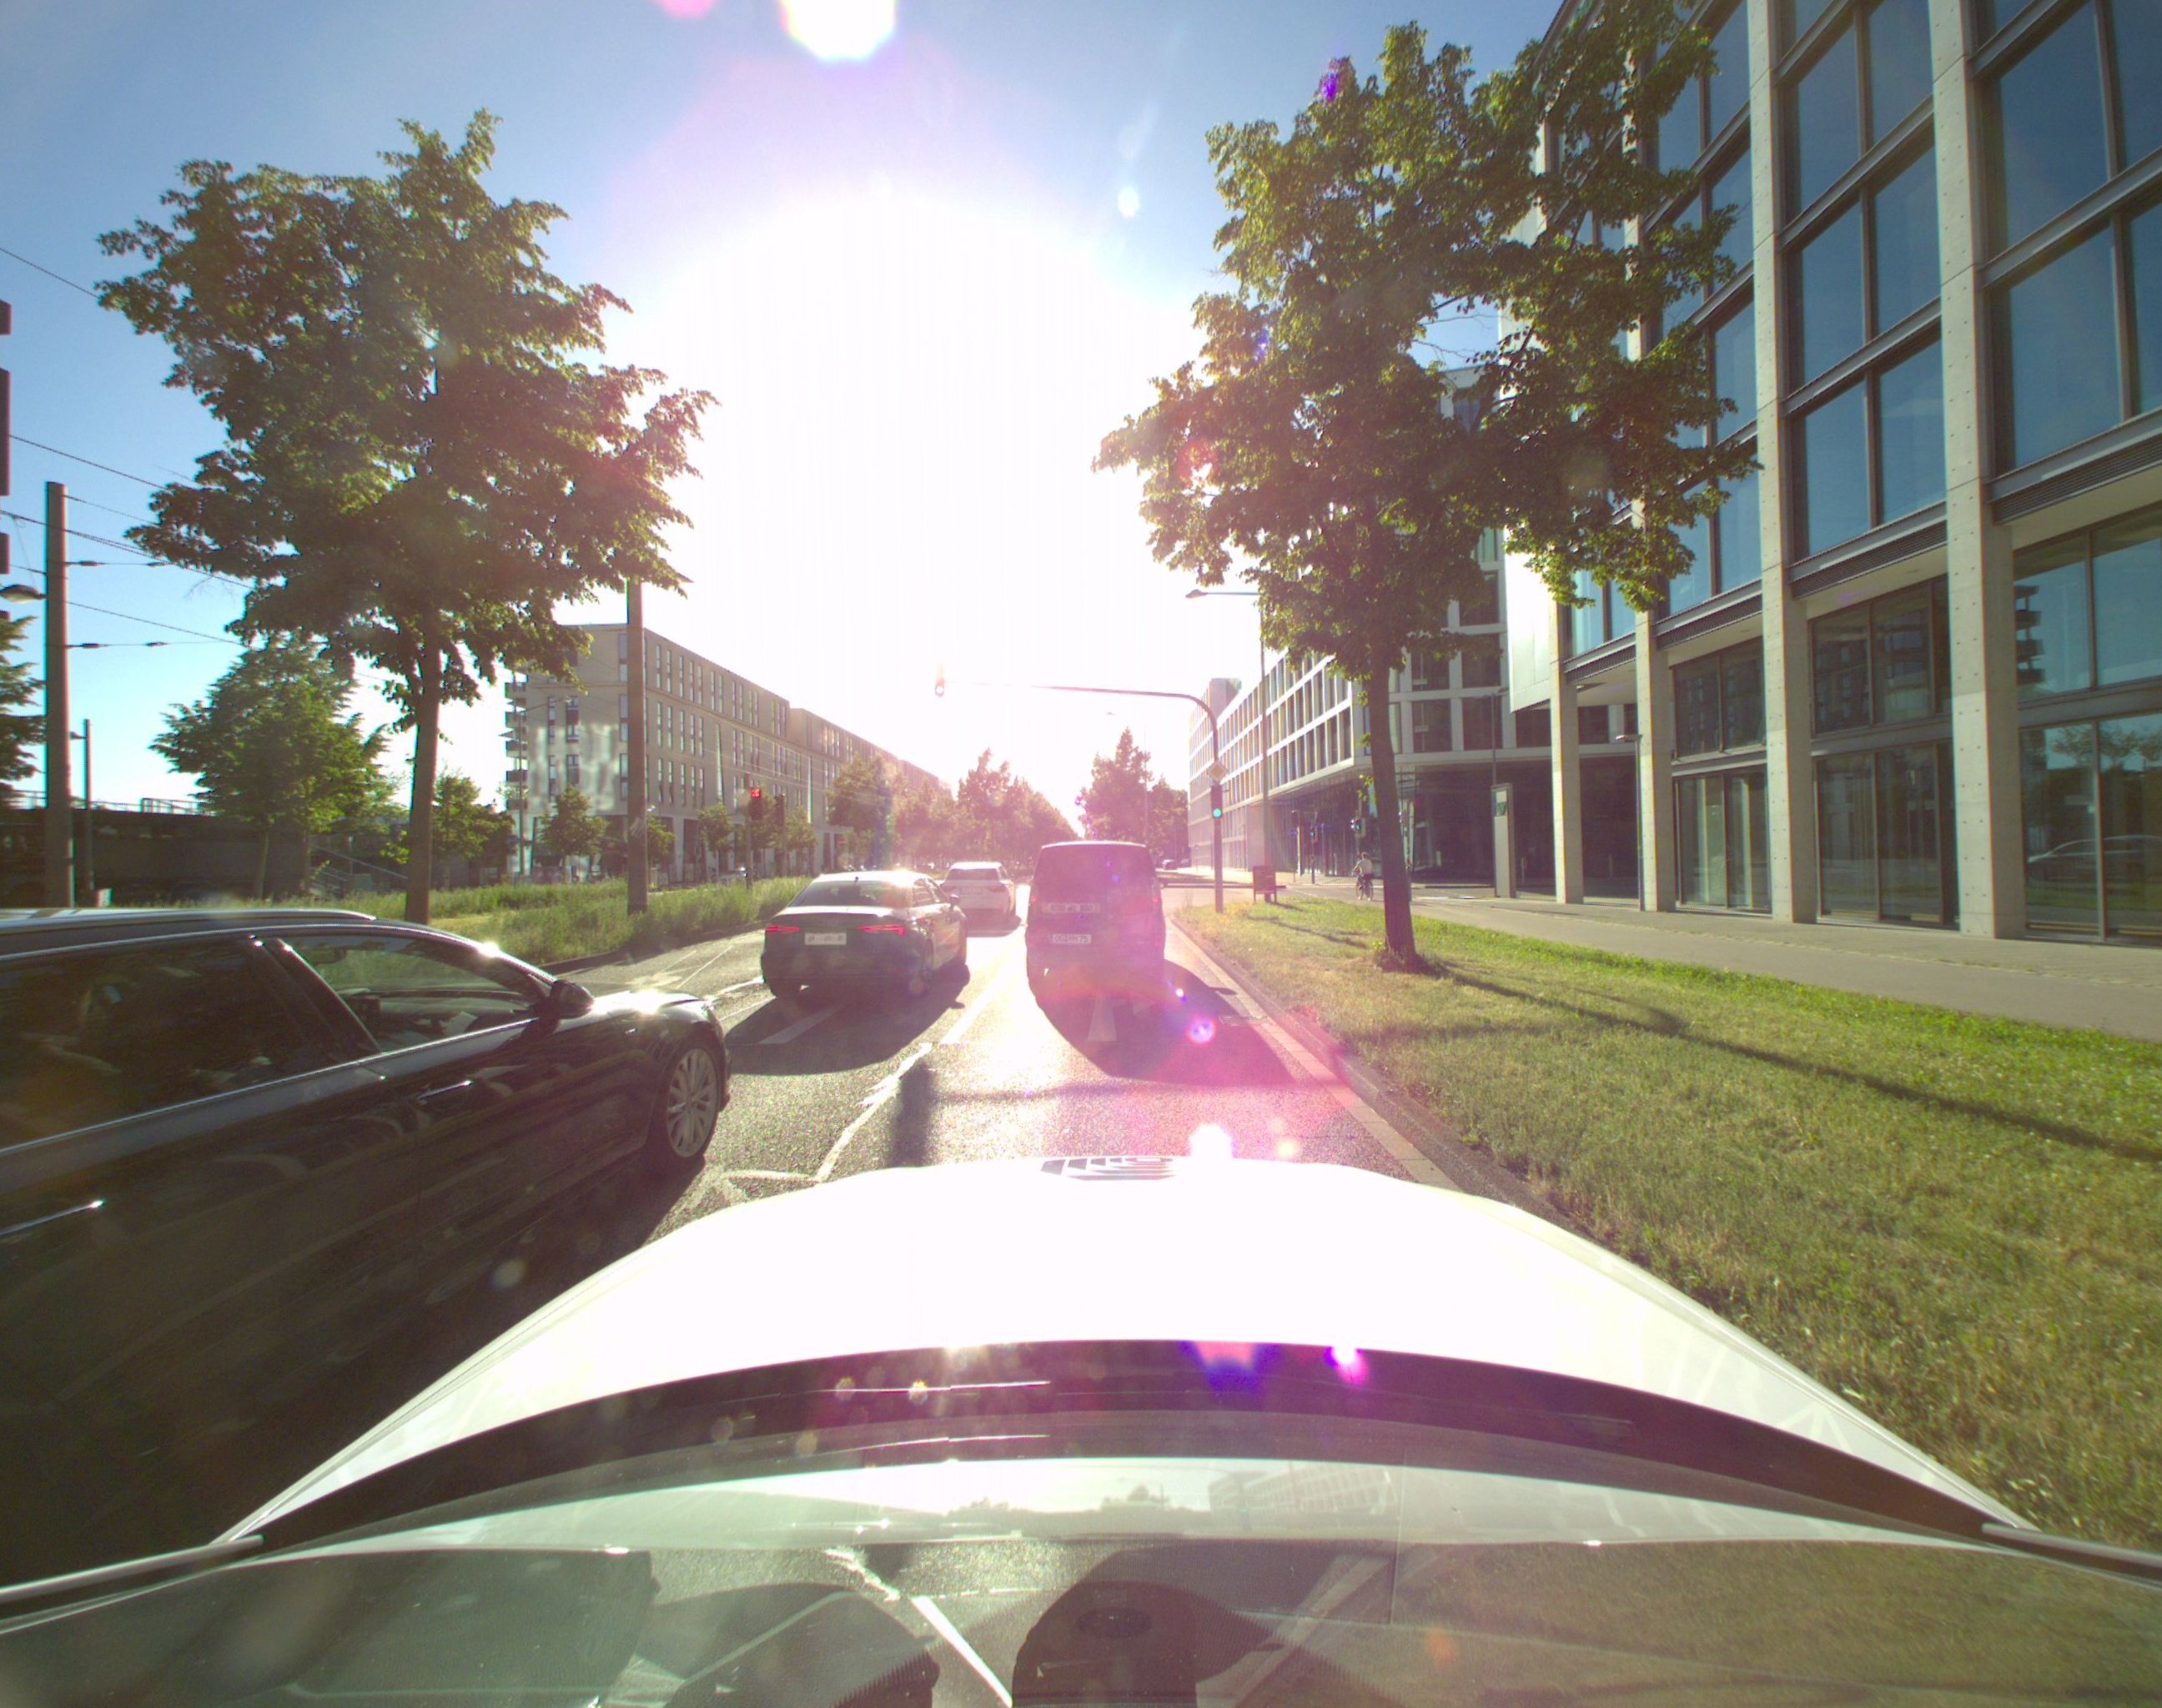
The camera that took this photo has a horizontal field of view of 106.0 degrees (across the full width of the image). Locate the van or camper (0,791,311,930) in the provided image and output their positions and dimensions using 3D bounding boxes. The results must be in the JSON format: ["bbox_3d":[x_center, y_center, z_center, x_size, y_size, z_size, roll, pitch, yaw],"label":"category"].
[{"bbox_3d":[-33.741,0.270,28.969,2.743,4.192,10.233,-1,-1,2],"label":"van or camper"}]

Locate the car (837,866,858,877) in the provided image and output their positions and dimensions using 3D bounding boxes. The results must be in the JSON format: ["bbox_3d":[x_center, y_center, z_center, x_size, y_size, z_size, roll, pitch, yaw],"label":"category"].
[{"bbox_3d":[-31.016,2.324,108.269,1.574,1.342,3.712,-1,-1,1],"label":"car"}]

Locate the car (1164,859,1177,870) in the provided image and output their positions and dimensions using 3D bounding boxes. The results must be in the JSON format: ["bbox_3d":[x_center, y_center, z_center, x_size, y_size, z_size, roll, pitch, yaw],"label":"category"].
[{"bbox_3d":[13.657,1.540,124.244,1.751,1.611,3.906,-1,0,3],"label":"car"}]

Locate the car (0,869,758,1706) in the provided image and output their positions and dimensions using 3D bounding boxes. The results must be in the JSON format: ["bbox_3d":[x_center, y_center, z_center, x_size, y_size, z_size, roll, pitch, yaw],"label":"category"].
[{"bbox_3d":[-2.831,0.824,2.446,1.801,1.457,4.509,-1,0,1],"label":"car"}]

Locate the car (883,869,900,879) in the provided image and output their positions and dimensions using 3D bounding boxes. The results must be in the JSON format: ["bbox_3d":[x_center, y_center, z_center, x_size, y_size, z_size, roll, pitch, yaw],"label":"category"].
[{"bbox_3d":[-31.128,3.251,133.951,1.770,1.528,3.806,-1,-1,1],"label":"car"}]

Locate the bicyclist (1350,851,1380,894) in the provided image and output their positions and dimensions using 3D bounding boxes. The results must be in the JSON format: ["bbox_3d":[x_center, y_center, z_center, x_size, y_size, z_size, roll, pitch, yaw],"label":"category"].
[{"bbox_3d":[10.369,0.676,29.707,0.768,1.531,0.850,-2,-1,1],"label":"bicyclist"}]

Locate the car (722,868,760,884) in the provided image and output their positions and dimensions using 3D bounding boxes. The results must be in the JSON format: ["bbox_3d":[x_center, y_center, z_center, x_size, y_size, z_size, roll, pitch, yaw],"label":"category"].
[{"bbox_3d":[-31.591,2.036,75.740,1.574,1.342,4.472,-1,-1,1],"label":"car"}]

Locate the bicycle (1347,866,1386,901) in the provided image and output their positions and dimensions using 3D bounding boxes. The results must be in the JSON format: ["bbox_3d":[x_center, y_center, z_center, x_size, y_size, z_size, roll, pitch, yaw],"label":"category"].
[{"bbox_3d":[10.353,1.049,29.587,0.739,1.174,1.962,-1,0,2],"label":"bicycle"}]

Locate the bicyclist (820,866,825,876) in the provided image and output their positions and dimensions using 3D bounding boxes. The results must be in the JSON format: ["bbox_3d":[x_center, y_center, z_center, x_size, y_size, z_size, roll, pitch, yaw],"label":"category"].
[{"bbox_3d":[-36.251,2.398,114.361,0.578,1.293,0.703,0,-1,-9],"label":"bicyclist"}]

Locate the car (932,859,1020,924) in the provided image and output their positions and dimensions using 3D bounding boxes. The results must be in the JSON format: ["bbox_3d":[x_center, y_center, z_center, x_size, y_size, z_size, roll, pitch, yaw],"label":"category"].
[{"bbox_3d":[-2.541,0.860,20.526,1.803,1.434,4.109,-1,0,-2],"label":"car"}]

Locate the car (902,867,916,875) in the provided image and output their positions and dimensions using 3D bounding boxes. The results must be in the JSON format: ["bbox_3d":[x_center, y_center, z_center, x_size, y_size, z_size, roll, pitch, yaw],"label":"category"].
[{"bbox_3d":[-30.975,3.118,146.602,1.574,1.342,3.712,-1,-1,1],"label":"car"}]

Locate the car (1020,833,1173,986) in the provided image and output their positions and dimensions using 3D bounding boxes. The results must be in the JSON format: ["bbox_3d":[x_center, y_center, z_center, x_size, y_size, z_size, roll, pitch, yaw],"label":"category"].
[{"bbox_3d":[0.266,0.675,11.821,1.801,1.794,4.115,-1,0,2],"label":"car"}]

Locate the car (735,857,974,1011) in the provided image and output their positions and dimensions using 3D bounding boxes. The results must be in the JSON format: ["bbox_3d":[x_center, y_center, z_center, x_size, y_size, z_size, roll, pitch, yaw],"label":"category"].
[{"bbox_3d":[-2.576,0.827,10.346,1.802,1.527,4.113,-1,0,1],"label":"car"}]

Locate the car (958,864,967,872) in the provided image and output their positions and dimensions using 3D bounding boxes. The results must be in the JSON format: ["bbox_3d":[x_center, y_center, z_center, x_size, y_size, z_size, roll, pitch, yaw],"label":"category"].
[{"bbox_3d":[-28.618,3.351,196.571,1.723,2.013,3.998,-1,0,-1],"label":"car"}]

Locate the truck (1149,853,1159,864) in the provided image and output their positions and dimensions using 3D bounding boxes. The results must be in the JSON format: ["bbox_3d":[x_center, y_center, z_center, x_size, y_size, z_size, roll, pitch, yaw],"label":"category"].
[{"bbox_3d":[17.443,1.078,195.079,1.825,2.501,5.933,-1,-1,1],"label":"truck"}]

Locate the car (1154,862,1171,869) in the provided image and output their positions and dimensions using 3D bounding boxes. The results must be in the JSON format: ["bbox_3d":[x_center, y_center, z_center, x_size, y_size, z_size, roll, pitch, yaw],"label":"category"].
[{"bbox_3d":[16.248,2.222,162.269,3.380,1.358,1.474,-1,-1,8],"label":"car"}]

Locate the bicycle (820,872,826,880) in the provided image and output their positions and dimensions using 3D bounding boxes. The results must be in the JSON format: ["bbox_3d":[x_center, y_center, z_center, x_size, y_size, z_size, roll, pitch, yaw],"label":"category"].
[{"bbox_3d":[-36.260,3.056,114.331,0.528,1.111,1.633,0,-1,-7],"label":"bicycle"}]
